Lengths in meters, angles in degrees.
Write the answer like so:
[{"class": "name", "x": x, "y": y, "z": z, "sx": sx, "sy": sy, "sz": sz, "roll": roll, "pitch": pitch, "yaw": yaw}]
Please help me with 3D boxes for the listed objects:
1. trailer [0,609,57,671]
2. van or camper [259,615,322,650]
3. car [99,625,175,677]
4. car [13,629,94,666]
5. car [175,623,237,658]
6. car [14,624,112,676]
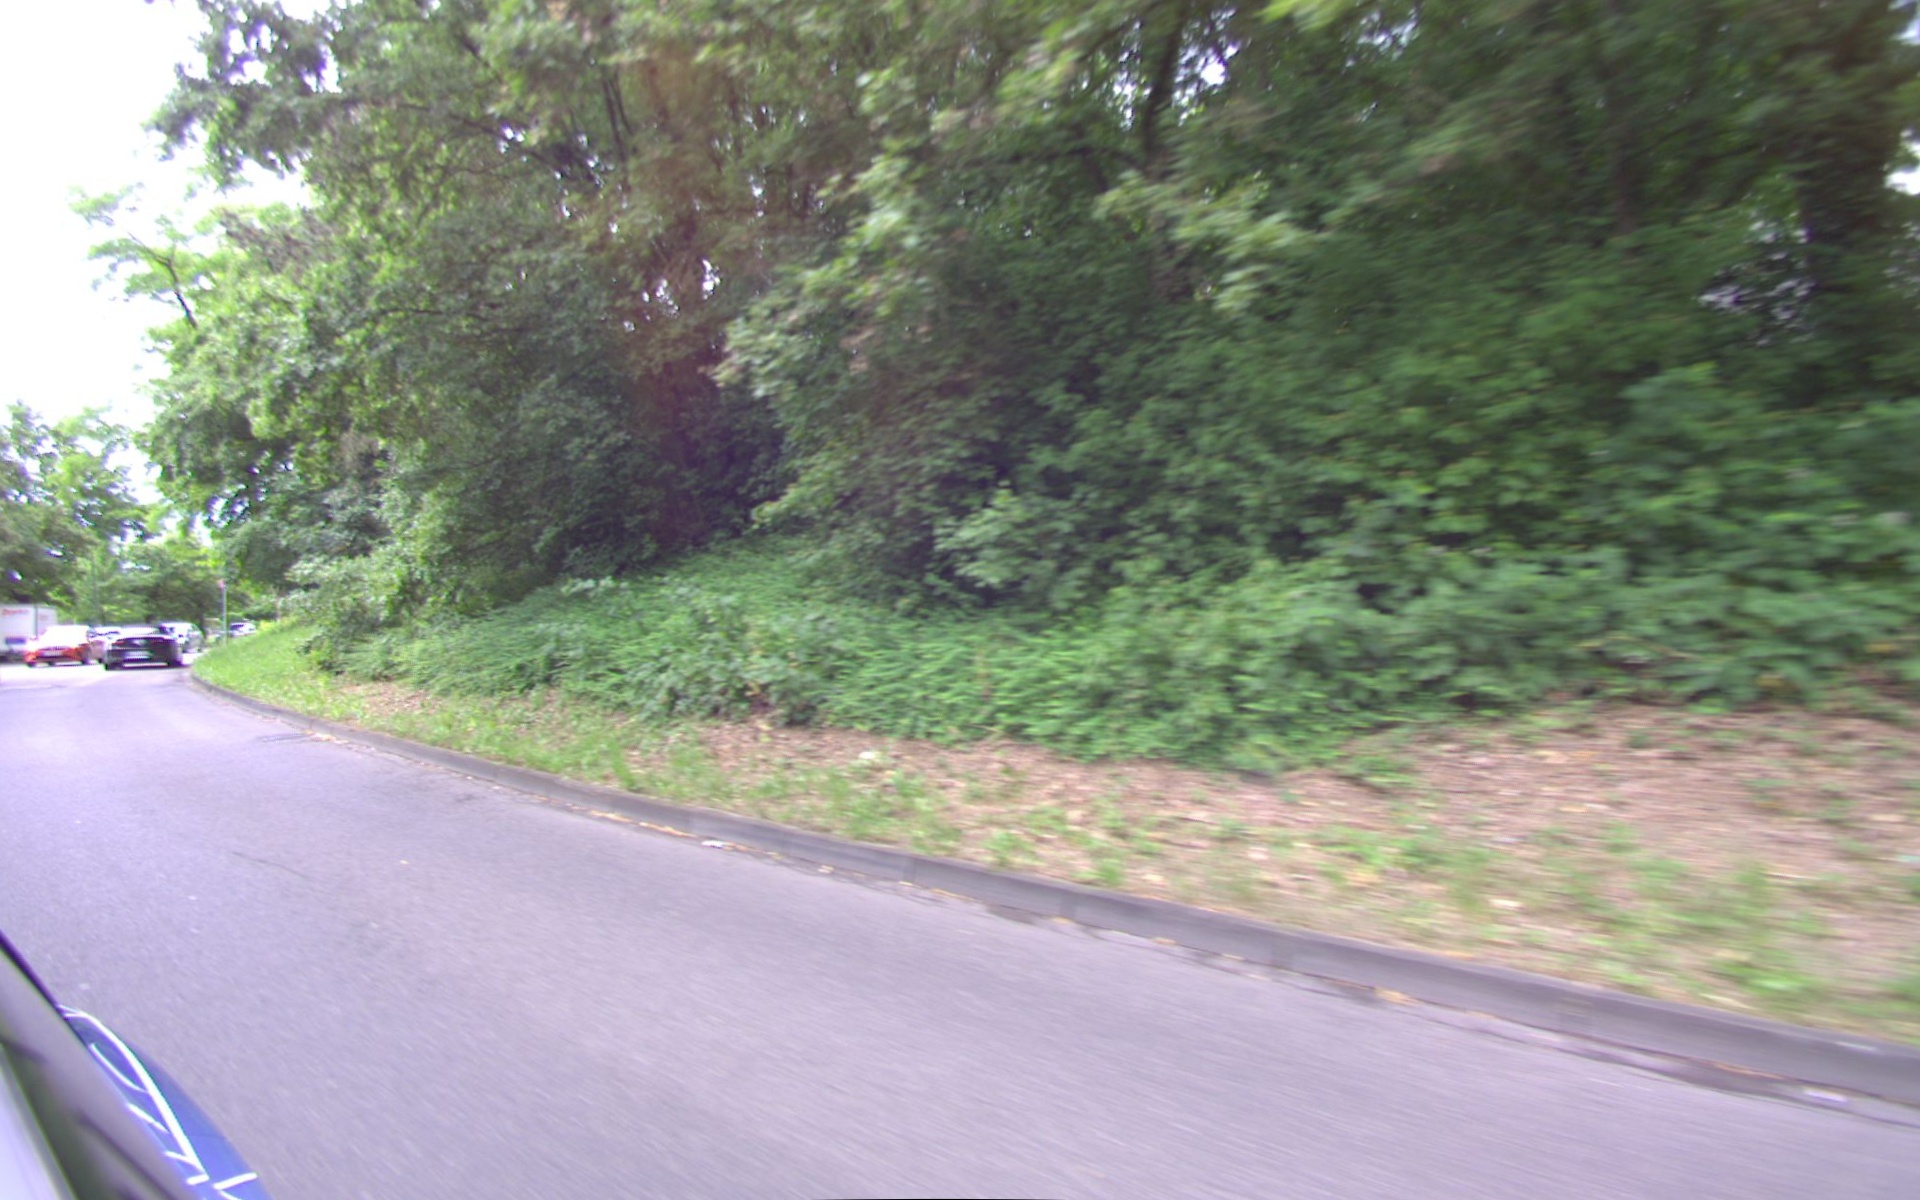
[{"class": "trailer", "x": -39.522, "y": 1.663, "z": 42.345, "sx": 1.736, "sy": 2.445, "sz": 3.899, "roll": -1, "pitch": -1, "yaw": -28}, {"class": "van or camper", "x": -54.456, "y": 2.601, "z": 82.471, "sx": 2.132, "sy": 2.555, "sz": 6.046, "roll": -3, "pitch": 0, "yaw": -13}, {"class": "car", "x": -27.022, "y": 1.605, "z": 33.260, "sx": 1.768, "sy": 1.399, "sz": 4.499, "roll": -4, "pitch": 2, "yaw": -39}, {"class": "car", "x": -42.122, "y": 2.172, "z": 47.138, "sx": 1.717, "sy": 1.536, "sz": 4.650, "roll": -1, "pitch": -1, "yaw": -28}, {"class": "car", "x": -41.128, "y": 2.169, "z": 55.320, "sx": 1.891, "sy": 1.694, "sz": 4.013, "roll": -1, "pitch": 1, "yaw": -25}, {"class": "car", "x": -32.550, "y": 1.771, "z": 36.856, "sx": 1.836, "sy": 1.459, "sz": 4.190, "roll": 2, "pitch": 3, "yaw": -30}]
